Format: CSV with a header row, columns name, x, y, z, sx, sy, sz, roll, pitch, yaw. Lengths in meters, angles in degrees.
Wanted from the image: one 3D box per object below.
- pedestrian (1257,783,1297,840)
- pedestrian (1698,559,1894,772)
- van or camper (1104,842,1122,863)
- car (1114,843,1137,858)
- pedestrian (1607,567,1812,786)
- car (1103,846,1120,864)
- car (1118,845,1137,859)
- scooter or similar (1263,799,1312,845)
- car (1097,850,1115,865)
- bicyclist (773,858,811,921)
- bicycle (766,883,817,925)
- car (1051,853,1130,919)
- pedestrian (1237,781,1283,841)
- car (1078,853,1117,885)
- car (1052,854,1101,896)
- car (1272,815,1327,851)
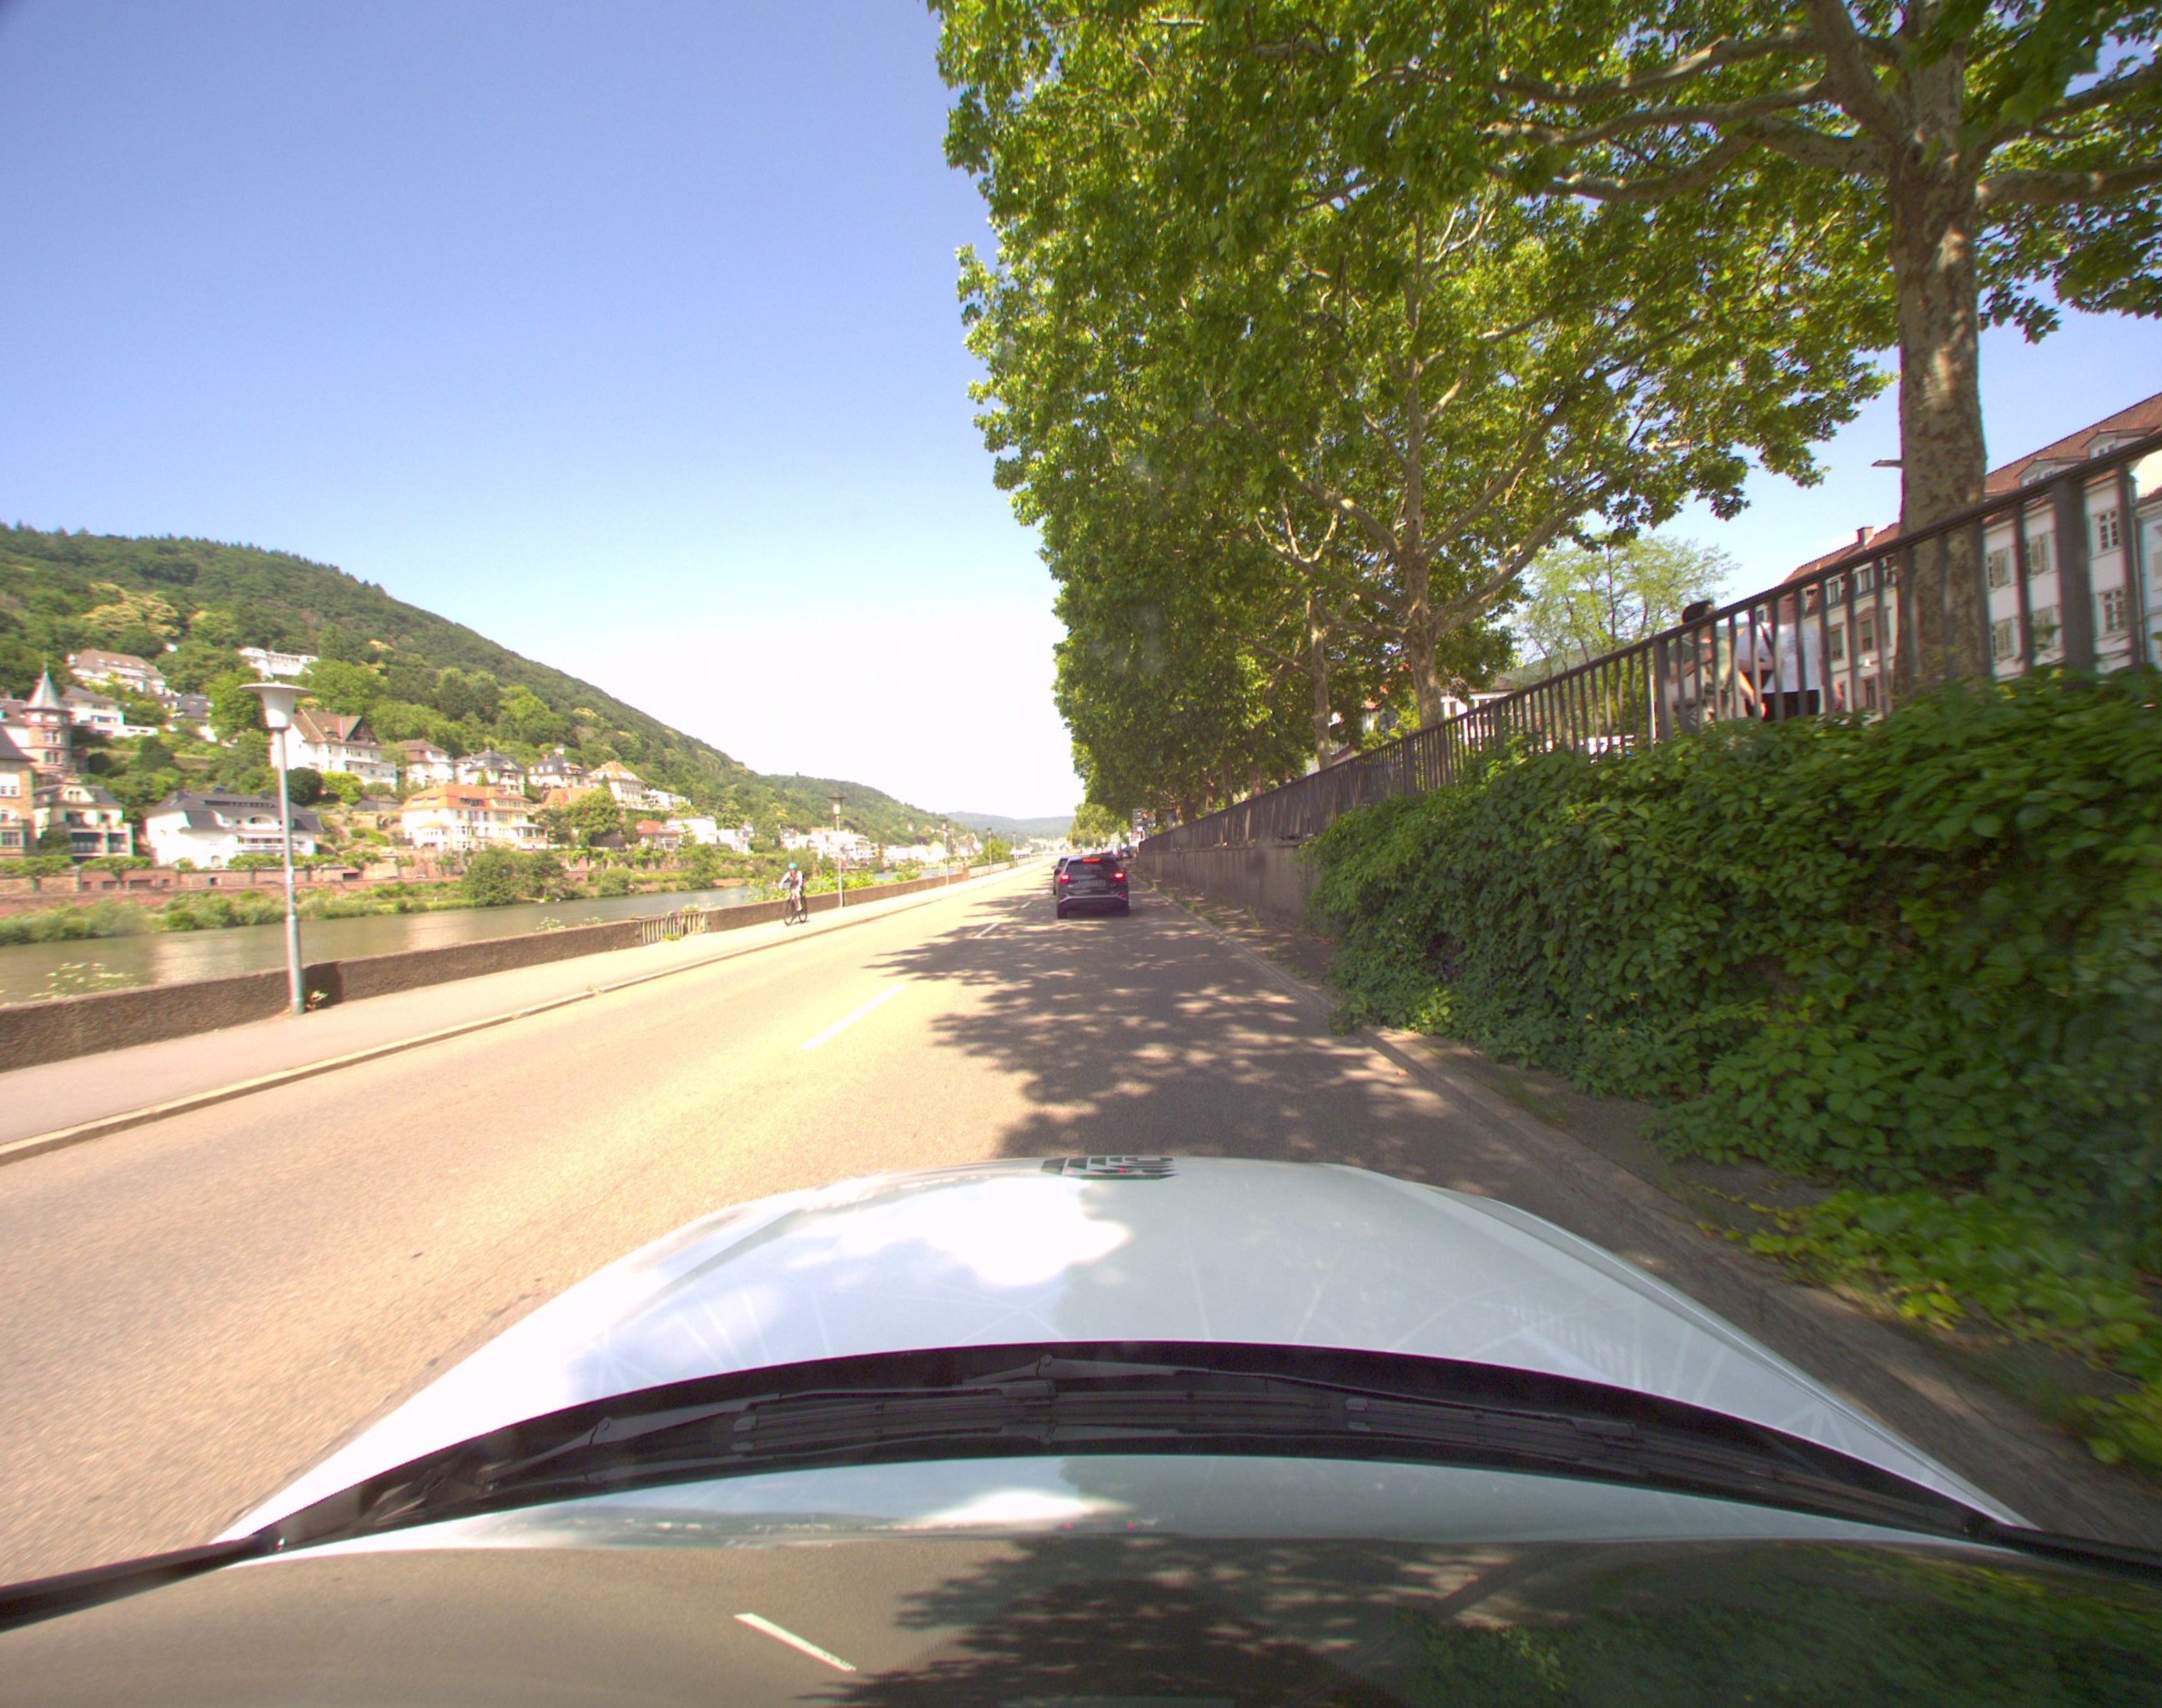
name,x,y,z,sx,sy,sz,roll,pitch,yaw
pedestrian,5.055,-1.080,21.062,0.678,1.365,0.989,-6,0,0
pedestrian,5.322,-1.364,6.115,0.642,1.365,0.794,-6,0,-1
van or camper,4.625,-0.193,116.943,2.301,2.847,4.248,-3,0,2
car,6.905,-0.496,127.155,3.088,2.013,5.824,-6,0,0
pedestrian,4.581,-1.256,6.000,0.751,1.365,0.814,-6,0,-1
car,4.043,0.098,107.853,1.987,2.169,4.000,-3,0,0
car,7.766,-0.388,136.558,2.653,2.013,5.824,-6,0,0
scooter or similar,5.102,-0.773,20.167,0.852,1.026,1.107,-6,0,0
car,2.631,0.383,86.433,1.822,1.444,4.000,-2,0,0
bicyclist,-8.058,0.977,22.750,0.635,1.673,0.871,-3,0,0
bicycle,-8.056,1.364,22.768,0.630,1.012,1.986,-3,0,1
car,0.245,0.749,21.242,1.822,1.486,4.000,-2,0,0
pedestrian,5.126,-1.225,23.363,0.934,1.579,1.027,-6,0,-1
car,0.834,0.717,41.558,1.822,1.486,4.000,-2,0,0
car,-0.155,0.778,32.821,1.822,1.511,4.000,-2,0,0
car,10.069,-0.943,37.298,1.633,1.500,3.841,-3,-1,26
